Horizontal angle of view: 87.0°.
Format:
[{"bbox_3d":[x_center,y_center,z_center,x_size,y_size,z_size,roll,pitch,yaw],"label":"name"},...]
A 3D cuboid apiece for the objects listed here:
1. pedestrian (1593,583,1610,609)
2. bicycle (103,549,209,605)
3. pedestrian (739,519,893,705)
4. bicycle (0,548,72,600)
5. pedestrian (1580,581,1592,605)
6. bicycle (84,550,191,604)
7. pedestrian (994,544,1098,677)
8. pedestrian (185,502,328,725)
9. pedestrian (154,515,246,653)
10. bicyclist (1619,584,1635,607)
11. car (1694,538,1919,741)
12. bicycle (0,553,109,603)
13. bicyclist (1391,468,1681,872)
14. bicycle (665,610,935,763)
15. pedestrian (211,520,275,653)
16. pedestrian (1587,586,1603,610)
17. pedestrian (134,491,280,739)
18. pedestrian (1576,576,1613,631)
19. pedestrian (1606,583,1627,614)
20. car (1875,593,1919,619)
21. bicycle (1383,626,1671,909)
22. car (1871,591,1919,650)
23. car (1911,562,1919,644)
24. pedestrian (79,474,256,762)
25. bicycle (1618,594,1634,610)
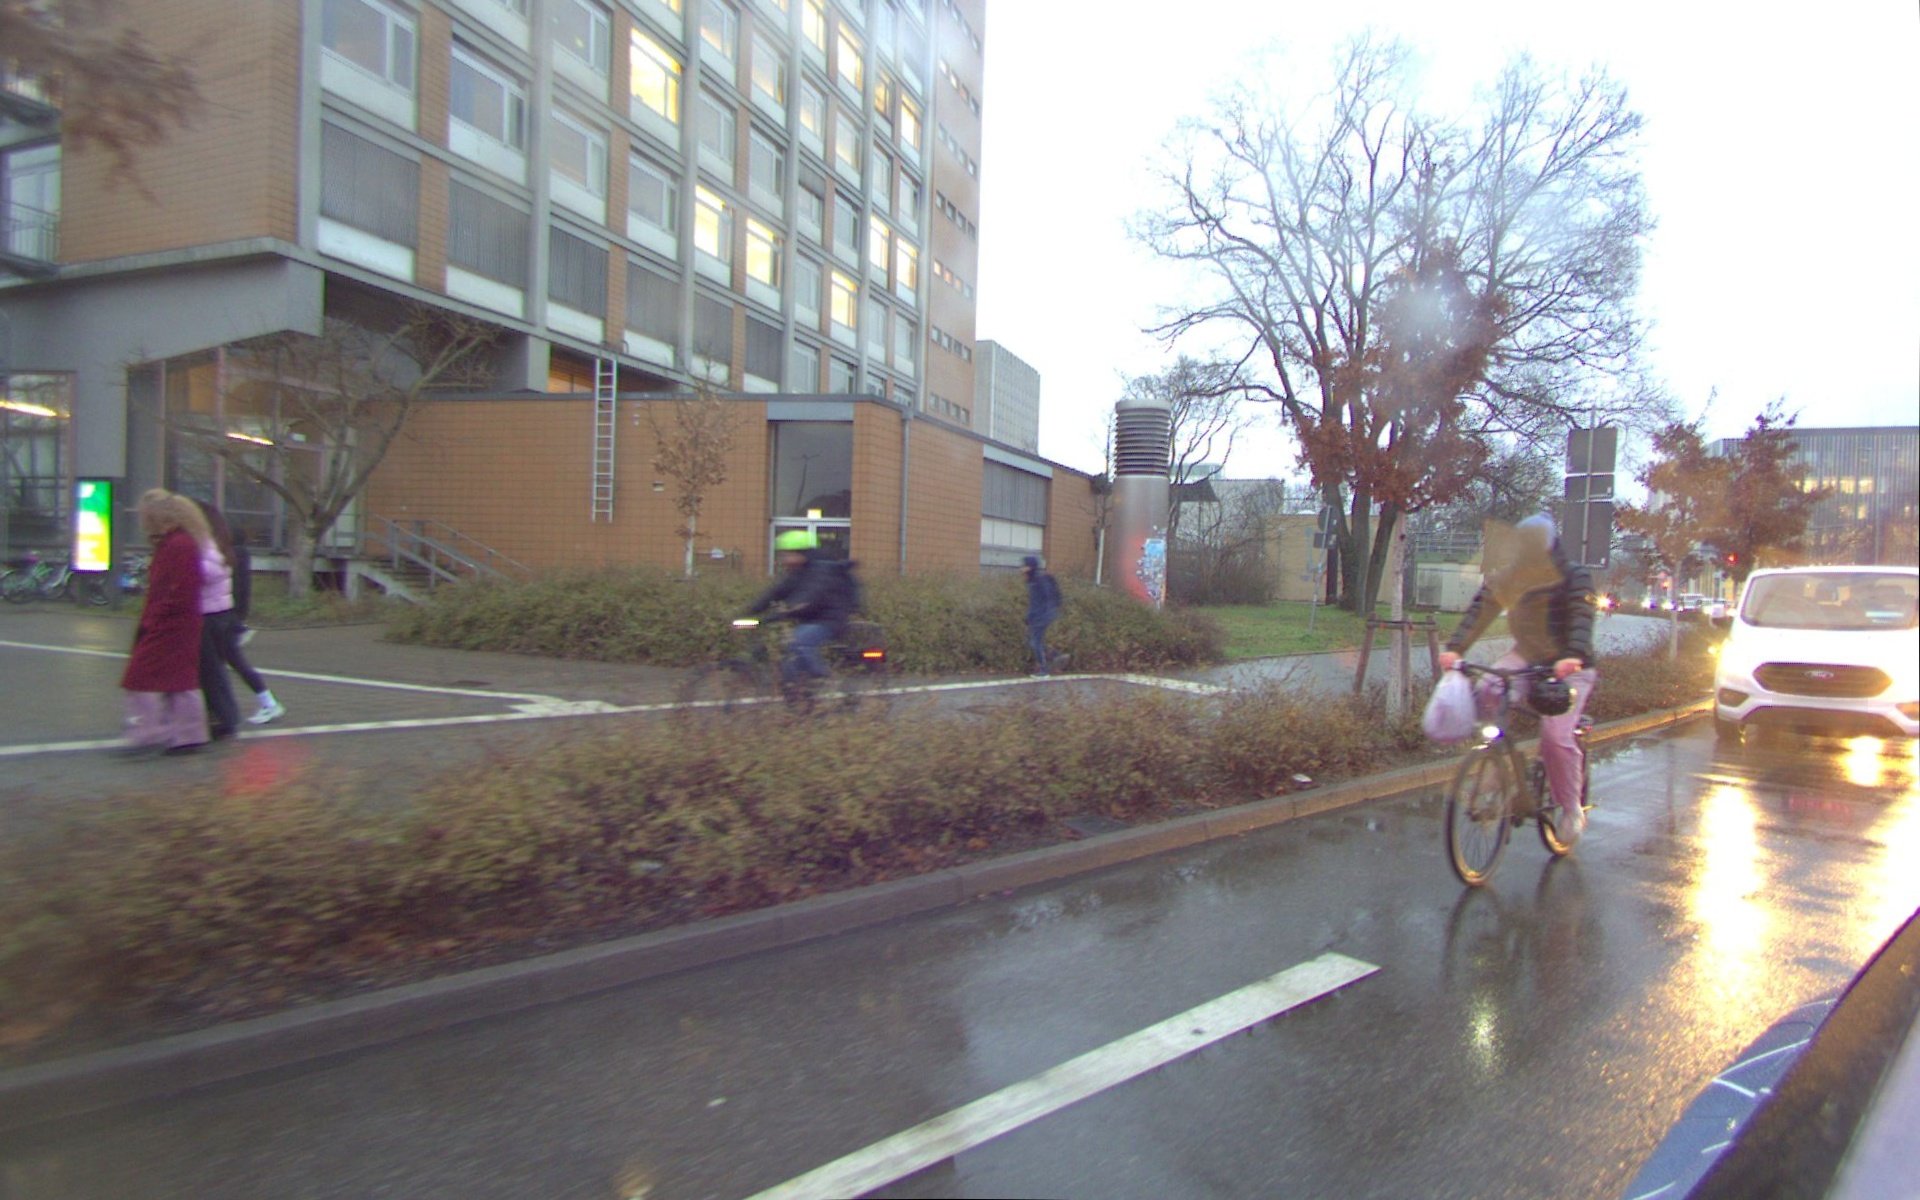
[{"bbox_3d":[47.836,-0.292,75.459,0.924,1.848,0.826,3,2,26],"label":"pedestrian"},{"bbox_3d":[-17.073,-0.491,21.544,0.397,1.115,1.781,2,2,24],"label":"bicycle"},{"bbox_3d":[-1.130,0.066,7.868,0.833,1.333,0.877,0,2,-39],"label":"pedestrian"},{"bbox_3d":[-20.593,-0.584,22.230,0.384,1.115,1.790,2,2,11],"label":"bicycle"},{"bbox_3d":[54.271,-0.631,87.755,0.758,2.038,0.903,2,2,25],"label":"pedestrian"},{"bbox_3d":[-17.665,-0.494,21.781,0.437,1.115,1.781,2,2,24],"label":"bicycle"},{"bbox_3d":[1.156,0.122,13.671,1.049,1.708,0.811,1,3,-30],"label":"pedestrian"},{"bbox_3d":[-5.660,0.095,8.190,0.744,1.708,0.722,1,1,-16],"label":"pedestrian"},{"bbox_3d":[-10.354,-0.229,13.791,0.847,1.813,0.741,2,1,32],"label":"pedestrian"},{"bbox_3d":[50.884,-0.357,77.253,0.800,1.637,1.074,5,3,29],"label":"bicyclist"},{"bbox_3d":[10.456,0.448,11.920,4.934,1.945,2.133,3,-1,-45],"label":"car"},{"bbox_3d":[-19.693,-0.479,21.767,0.700,1.003,2.044,2,2,24],"label":"bicycle"},{"bbox_3d":[3.163,0.323,5.561,1.214,1.907,1.026,0,0,-40],"label":"bicyclist"},{"bbox_3d":[-1.164,0.597,7.761,2.059,0.958,0.563,-1,3,-41],"label":"bicycle"},{"bbox_3d":[-10.100,-0.200,14.255,0.579,1.813,0.554,2,1,32],"label":"pedestrian"},{"bbox_3d":[49.751,-0.178,79.273,0.924,1.848,0.826,3,2,26],"label":"pedestrian"},{"bbox_3d":[-5.459,0.098,7.375,0.599,1.708,0.671,3,2,-16],"label":"pedestrian"},{"bbox_3d":[20.695,0.112,33.016,0.906,1.708,0.917,4,1,32],"label":"pedestrian"},{"bbox_3d":[40.366,-0.090,62.251,0.924,1.848,0.826,3,2,26],"label":"pedestrian"},{"bbox_3d":[57.343,0.378,61.070,1.913,1.393,4.459,3,2,26],"label":"car"},{"bbox_3d":[3.164,0.793,5.570,1.871,1.238,0.793,0,0,-41],"label":"bicycle"},{"bbox_3d":[26.665,0.615,27.899,4.240,1.523,1.753,3,-1,-41],"label":"car"},{"bbox_3d":[33.010,0.238,32.111,5.747,2.550,2.351,3,-1,-27],"label":"car"},{"bbox_3d":[-5.224,0.104,6.716,0.753,1.803,0.587,1,3,-16],"label":"pedestrian"},{"bbox_3d":[50.815,0.146,77.230,0.800,1.155,2.191,6,4,29],"label":"bicycle"}]
